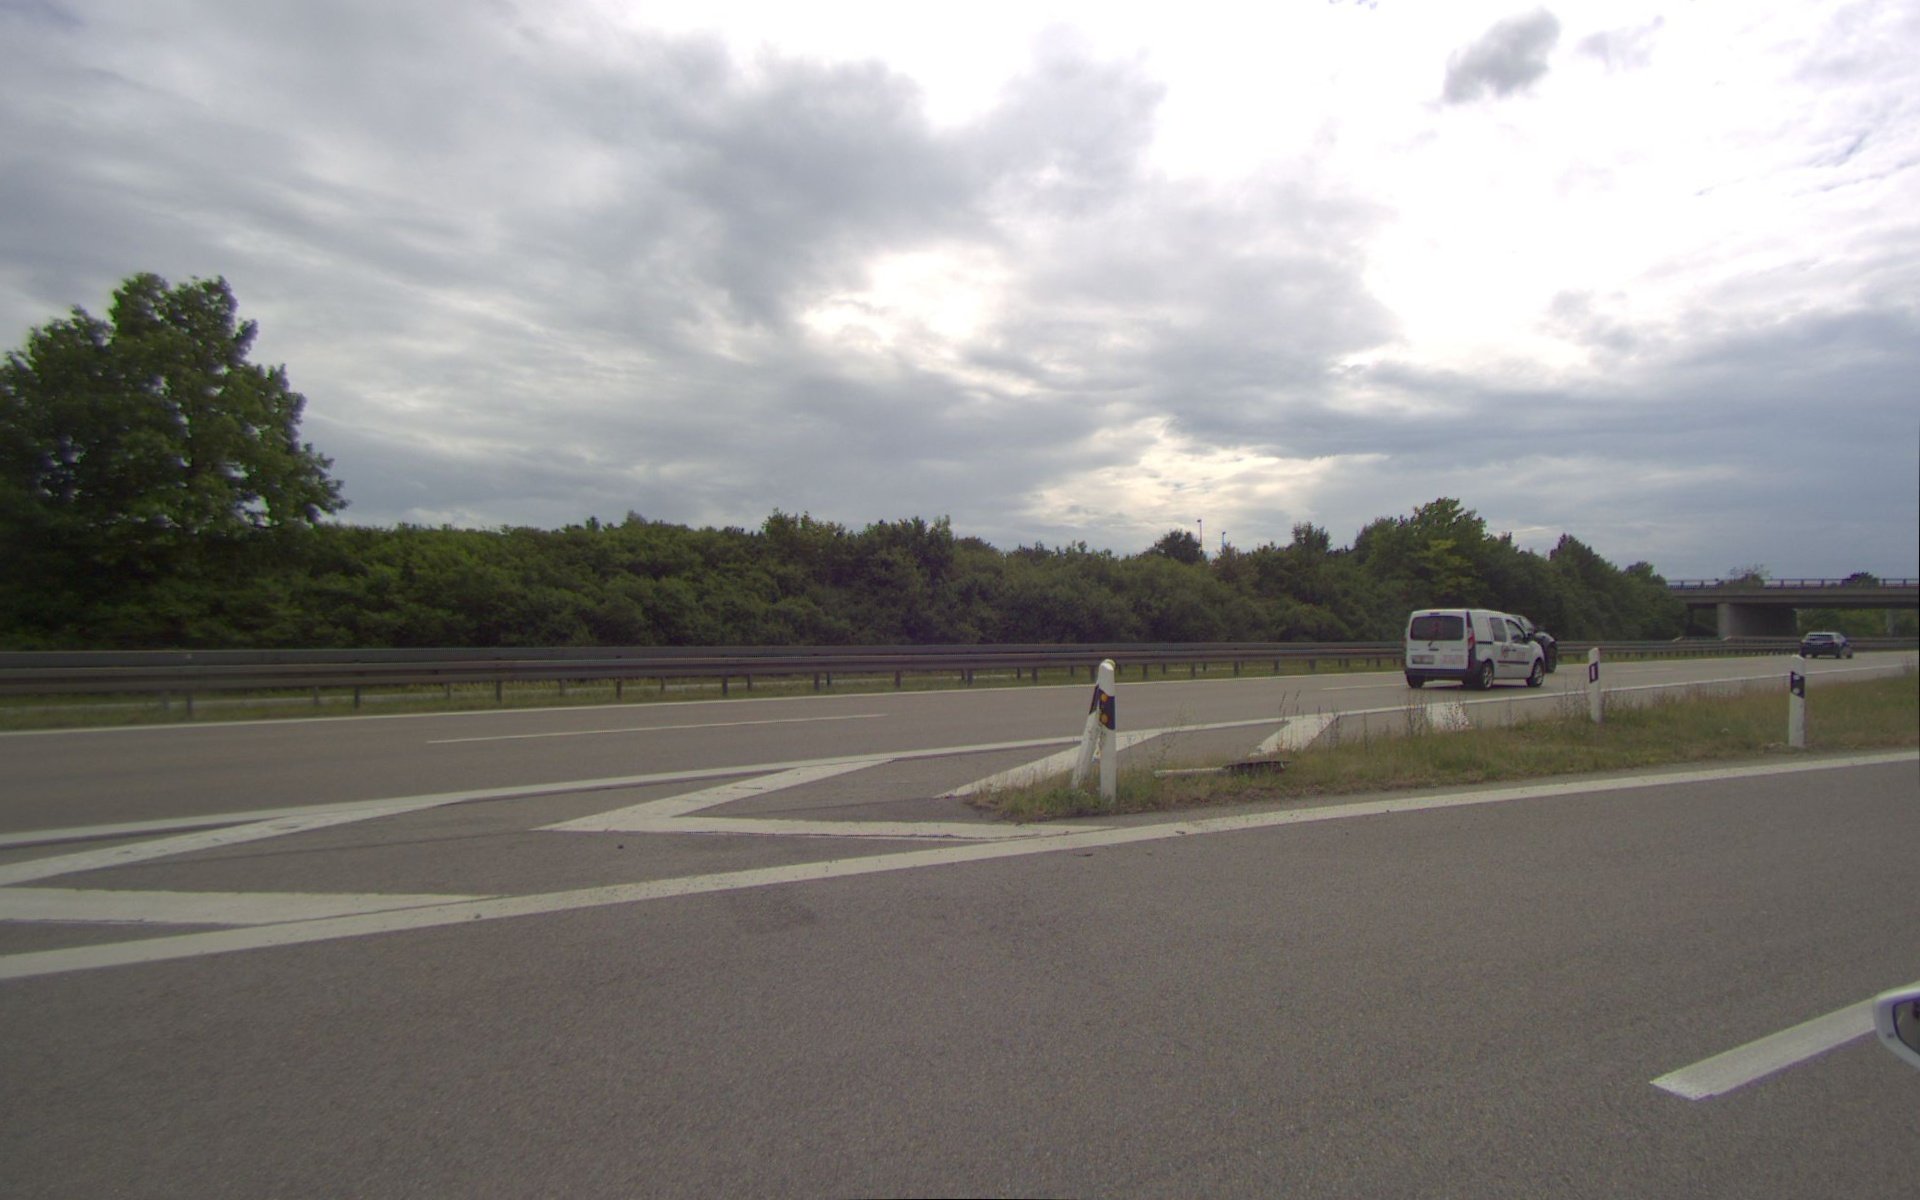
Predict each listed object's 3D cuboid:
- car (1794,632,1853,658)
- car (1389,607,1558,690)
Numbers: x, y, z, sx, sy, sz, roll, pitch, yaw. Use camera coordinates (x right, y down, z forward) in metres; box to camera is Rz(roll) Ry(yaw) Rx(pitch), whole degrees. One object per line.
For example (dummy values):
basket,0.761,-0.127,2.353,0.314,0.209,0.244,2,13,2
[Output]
car,49.593,2.574,57.676,4.756,1.442,1.708,2,-2,-39
car,12.131,1.105,23.622,4.447,1.774,1.862,2,-2,-38
